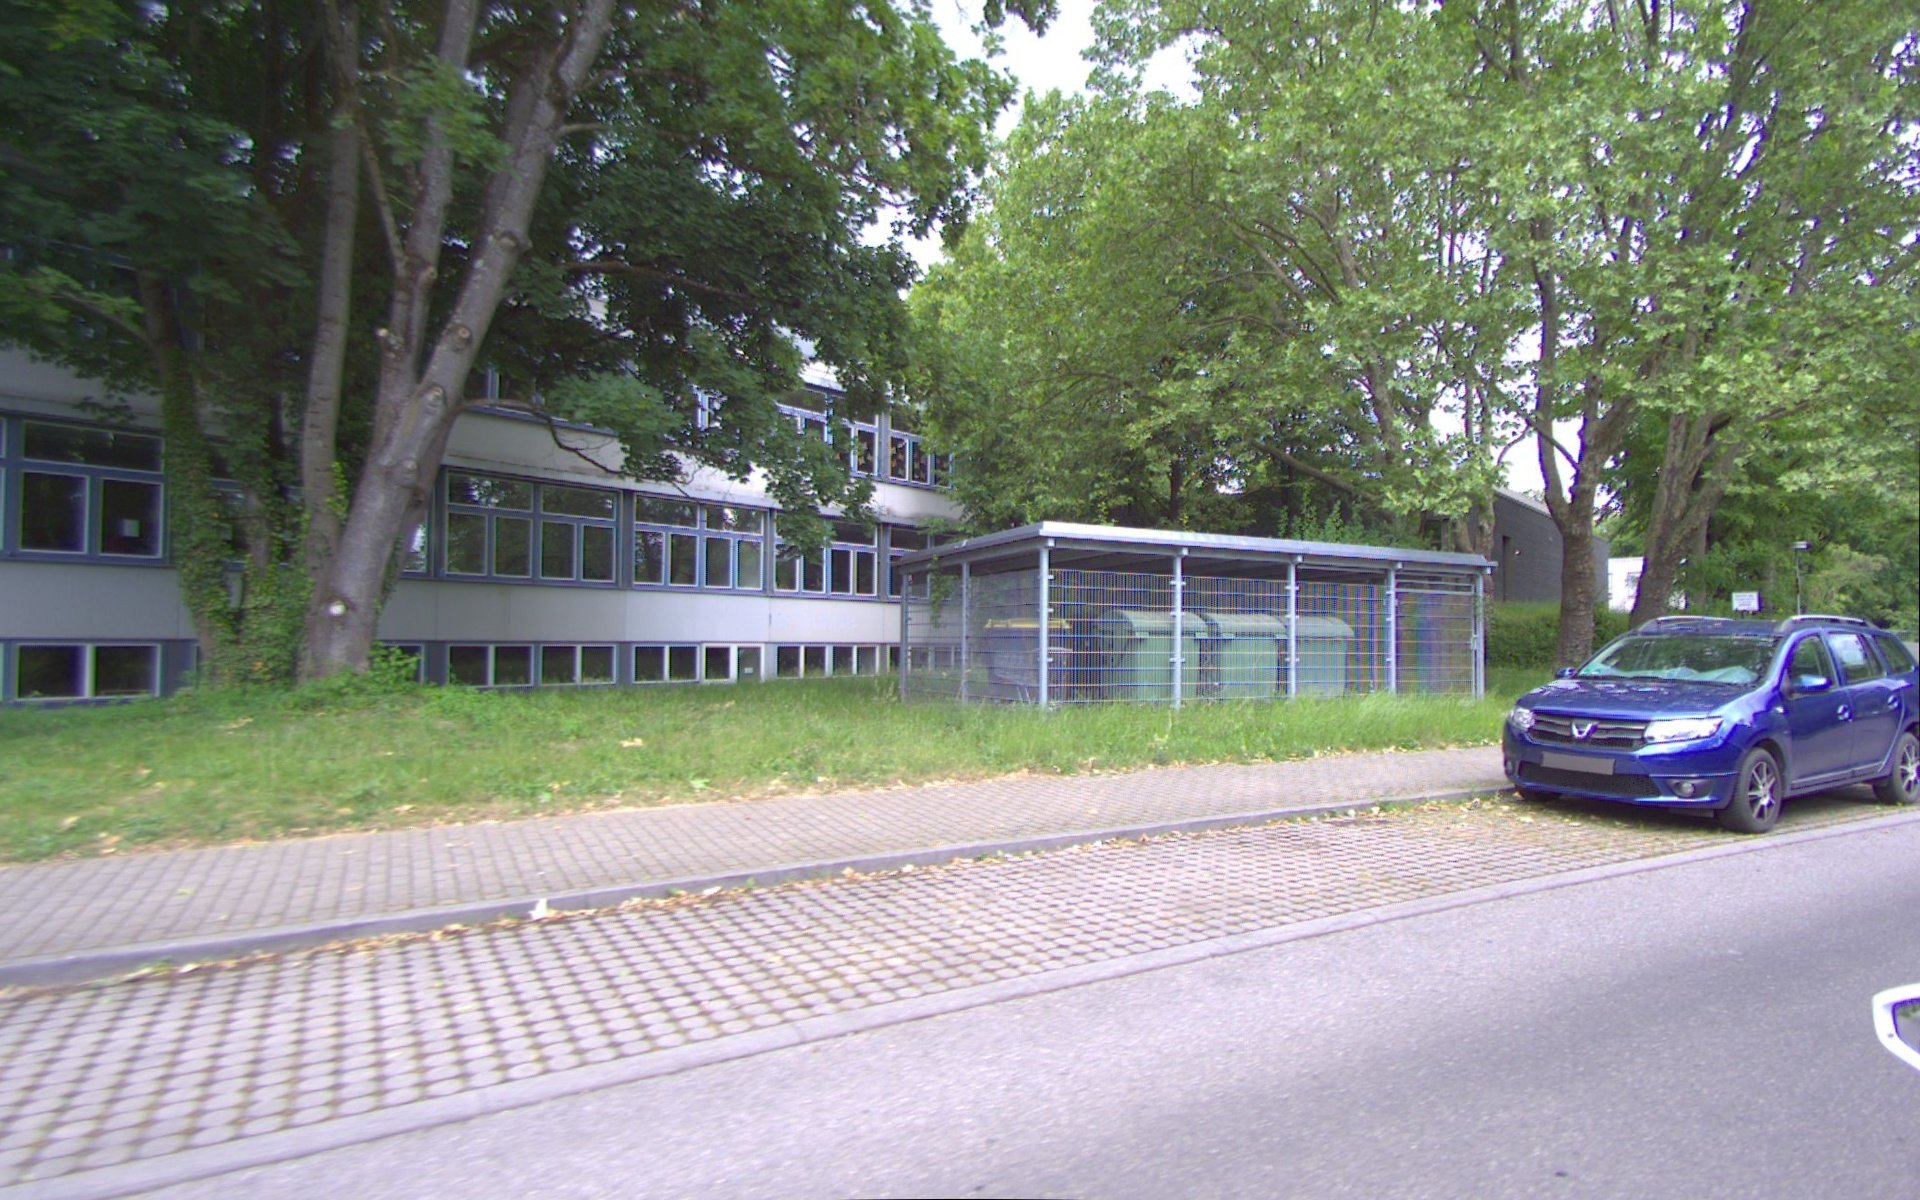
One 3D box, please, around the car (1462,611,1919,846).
[{"bbox_3d":[6.317,0.897,8.381,4.378,1.531,1.672,1,-1,-30],"label":"car"}]
